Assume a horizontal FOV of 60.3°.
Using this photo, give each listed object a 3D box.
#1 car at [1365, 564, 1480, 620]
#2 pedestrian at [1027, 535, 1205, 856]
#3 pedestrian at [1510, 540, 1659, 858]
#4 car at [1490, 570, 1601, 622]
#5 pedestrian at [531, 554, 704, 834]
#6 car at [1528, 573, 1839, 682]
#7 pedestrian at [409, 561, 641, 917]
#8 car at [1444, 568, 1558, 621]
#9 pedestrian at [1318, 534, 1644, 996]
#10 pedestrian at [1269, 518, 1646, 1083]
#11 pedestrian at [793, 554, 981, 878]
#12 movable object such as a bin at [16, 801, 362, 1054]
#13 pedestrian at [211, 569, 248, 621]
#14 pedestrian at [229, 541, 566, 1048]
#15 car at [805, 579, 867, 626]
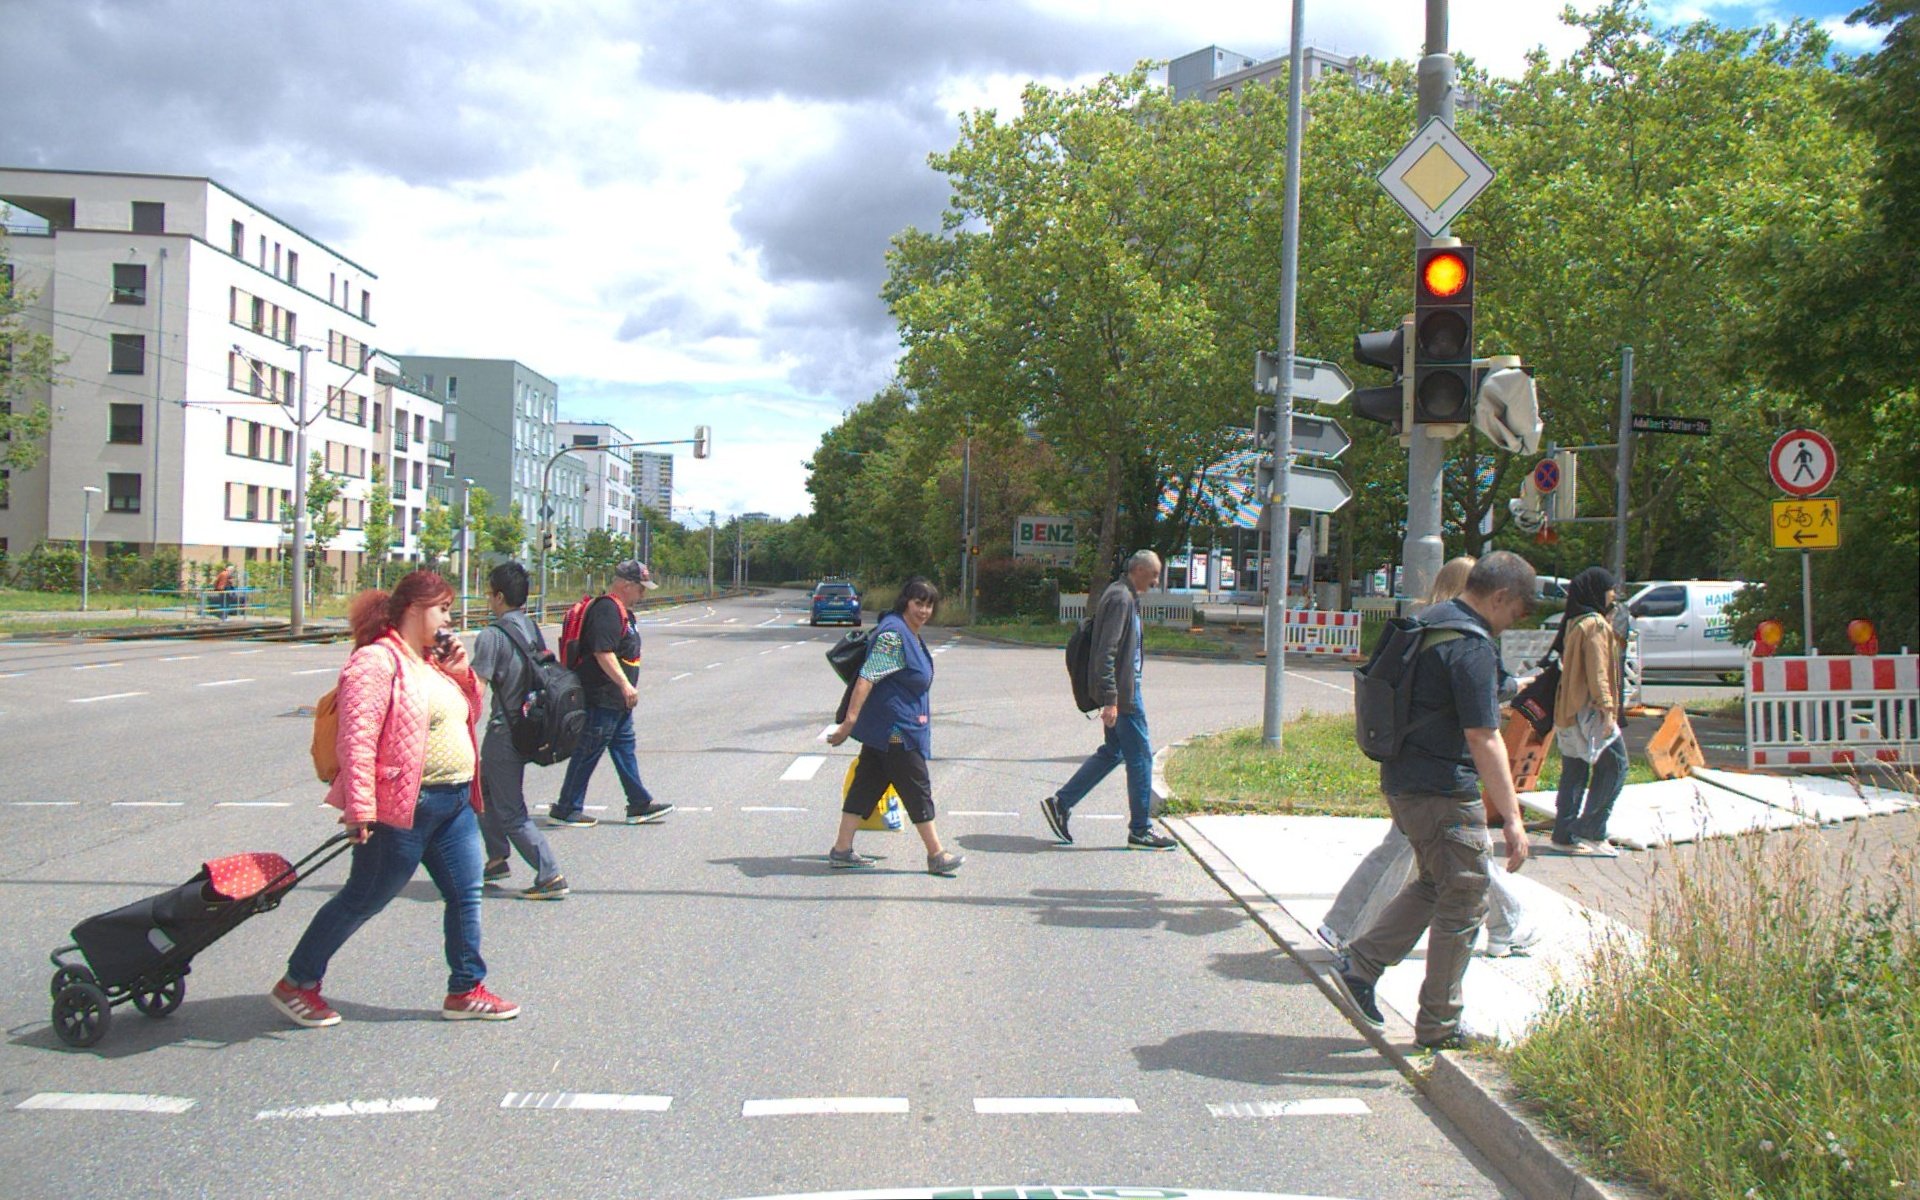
[{"bbox_3d":[17.524,-0.313,62.829,1.974,2.049,3.957,0,1,-32],"label":"car"},{"bbox_3d":[0.932,0.533,9.830,0.981,1.804,0.930,1,0,6],"label":"pedestrian"},{"bbox_3d":[3.676,0.546,9.744,0.766,1.773,0.828,1,0,21],"label":"pedestrian"},{"bbox_3d":[23.935,-0.181,67.699,1.974,2.049,3.957,0,1,-32],"label":"car"},{"bbox_3d":[-2.063,0.547,10.094,0.875,1.624,0.908,1,0,-2],"label":"pedestrian"},{"bbox_3d":[13.430,0.500,30.862,4.976,1.906,1.947,1,0,-5],"label":"car"},{"bbox_3d":[-2.021,0.616,7.807,0.928,1.579,0.842,1,0,-7],"label":"pedestrian"},{"bbox_3d":[21.368,-0.234,65.463,1.974,2.049,3.957,0,1,-32],"label":"car"},{"bbox_3d":[2.008,0.598,6.527,0.999,1.677,0.929,1,0,2],"label":"pedestrian"},{"bbox_3d":[1.569,0.596,5.381,0.939,1.677,0.880,1,0,-1],"label":"pedestrian"},{"bbox_3d":[-0.367,0.583,8.873,0.893,1.635,0.930,1,0,3],"label":"pedestrian"},{"bbox_3d":[-2.519,1.059,5.493,0.779,0.673,0.778,1,0,-1],"label":"movable object such as a bin"},{"bbox_3d":[-21.936,-0.148,49.650,0.814,1.542,0.636,1,0,-1],"label":"pedestrian"},{"bbox_3d":[-1.852,0.608,5.558,0.863,1.582,0.746,1,0,-1],"label":"pedestrian"},{"bbox_3d":[-4.238,0.052,55.871,1.944,1.512,4.485,1,1,-6],"label":"car"}]
